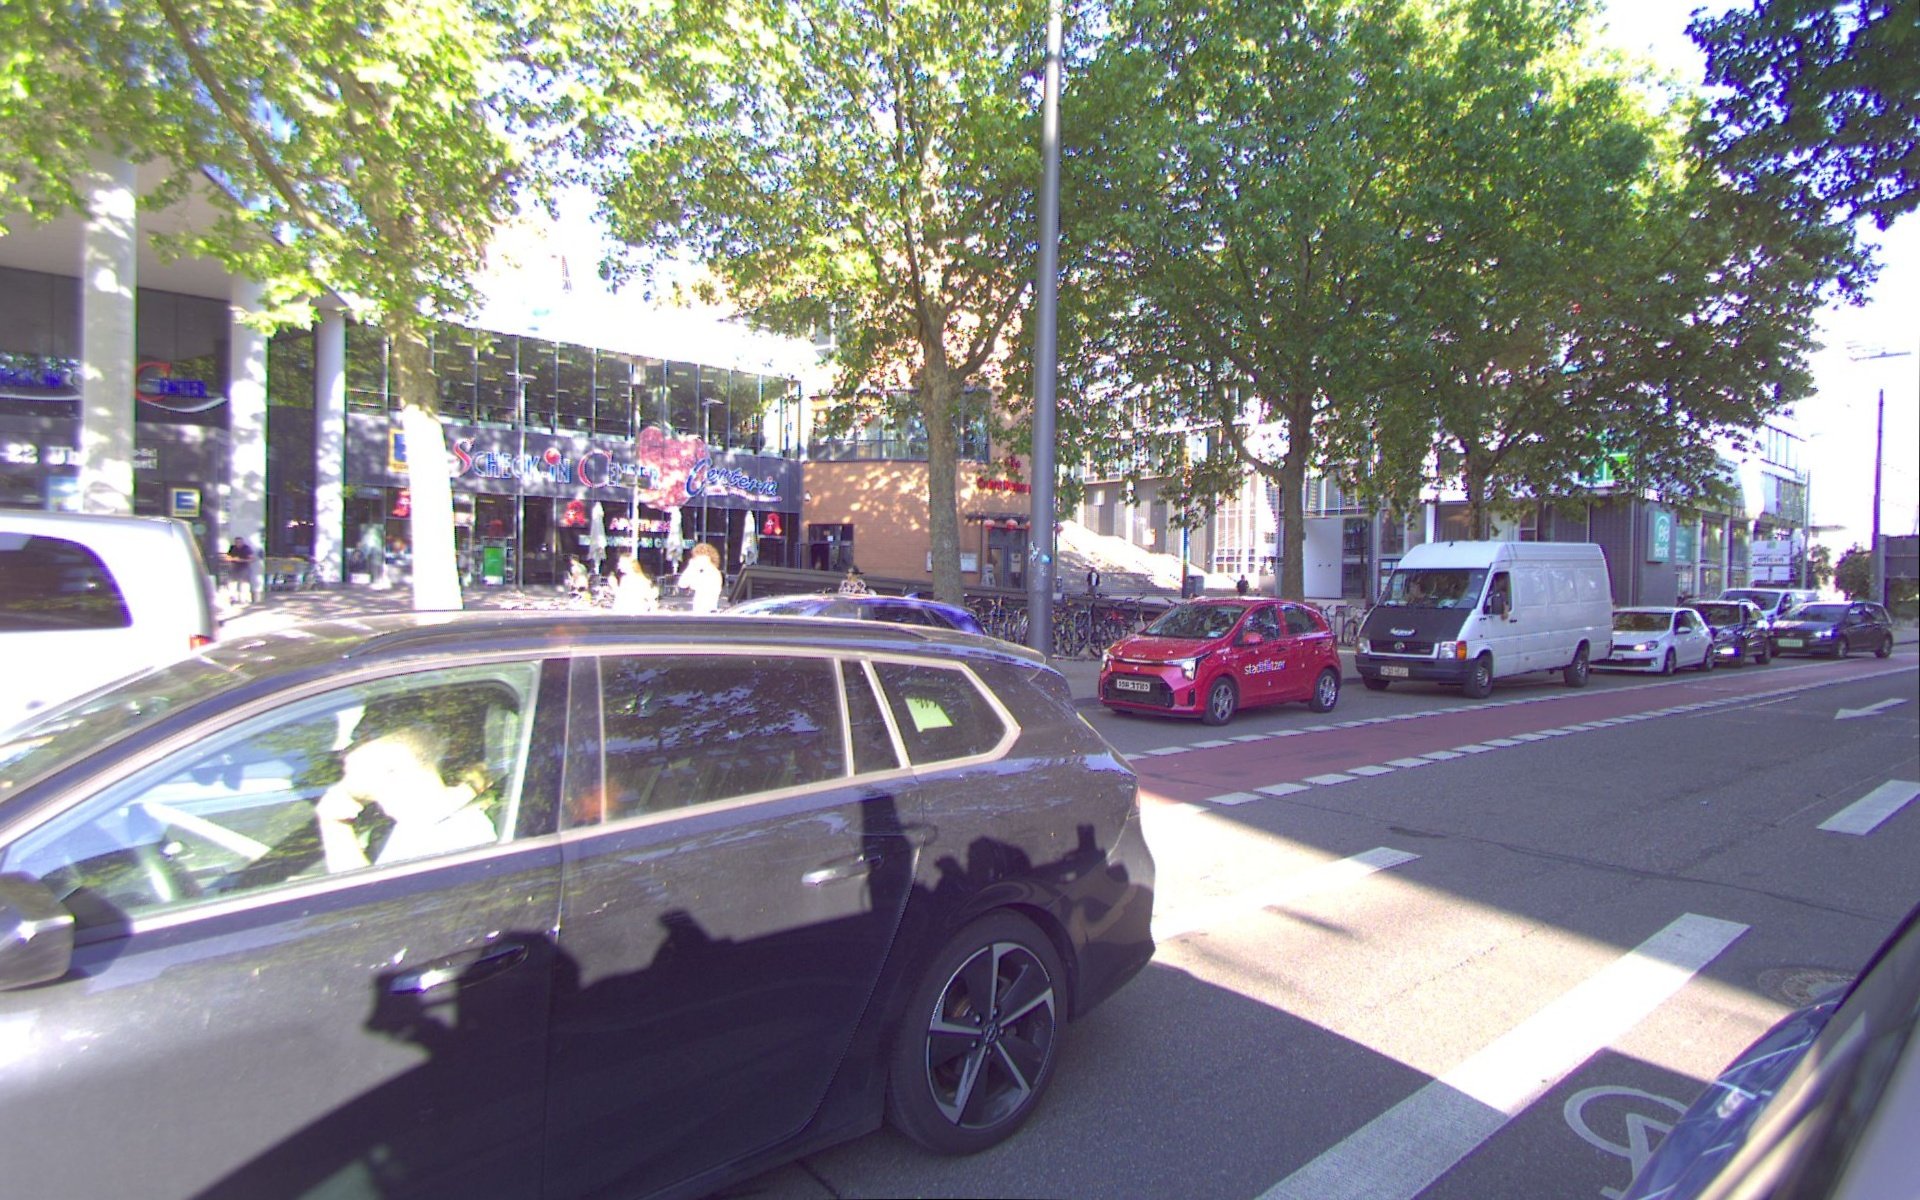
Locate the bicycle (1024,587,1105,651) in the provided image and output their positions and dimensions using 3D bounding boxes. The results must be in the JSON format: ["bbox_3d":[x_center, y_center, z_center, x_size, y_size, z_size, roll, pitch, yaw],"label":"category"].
[{"bbox_3d":[2.108,0.363,20.255,1.818,1.209,0.484,0,2,-41],"label":"bicycle"}]

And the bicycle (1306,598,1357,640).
[{"bbox_3d":[10.306,0.513,28.040,1.766,1.108,0.522,0,2,-41],"label":"bicycle"}]

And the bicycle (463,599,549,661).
[{"bbox_3d":[-7.123,0.463,15.917,1.198,0.938,0.465,1,1,-22],"label":"bicycle"}]

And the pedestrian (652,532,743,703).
[{"bbox_3d":[-2.985,0.185,11.518,0.798,1.868,0.644,1,1,-36],"label":"pedestrian"}]

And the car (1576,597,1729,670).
[{"bbox_3d":[15.278,0.678,22.274,3.927,1.446,1.683,0,1,-38],"label":"car"}]

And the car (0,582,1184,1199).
[{"bbox_3d":[-1.443,0.685,2.449,4.196,1.432,1.742,0,0,-41],"label":"car"}]

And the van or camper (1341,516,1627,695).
[{"bbox_3d":[9.269,0.072,17.547,6.456,2.611,1.998,0,0,-39],"label":"van or camper"}]

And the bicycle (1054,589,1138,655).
[{"bbox_3d":[2.619,0.399,19.361,1.818,1.209,0.481,0,2,-41],"label":"bicycle"}]

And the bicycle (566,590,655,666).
[{"bbox_3d":[-5.362,0.406,15.584,0.372,1.110,1.269,2,1,41],"label":"bicycle"}]

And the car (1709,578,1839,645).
[{"bbox_3d":[26.460,0.347,32.849,4.863,2.020,1.968,0,1,-35],"label":"car"}]

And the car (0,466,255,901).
[{"bbox_3d":[-6.201,0.357,4.373,5.008,2.004,1.940,0,2,-41],"label":"car"}]

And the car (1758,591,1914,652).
[{"bbox_3d":[25.265,0.583,29.170,4.242,1.640,1.970,0,1,-28],"label":"car"}]

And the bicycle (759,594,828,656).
[{"bbox_3d":[-3.099,0.444,18.848,1.202,1.110,0.427,0,1,-40],"label":"bicycle"}]

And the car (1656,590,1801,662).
[{"bbox_3d":[19.317,0.594,25.385,4.148,1.640,1.819,0,1,-36],"label":"car"}]

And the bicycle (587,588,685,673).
[{"bbox_3d":[-4.437,0.399,13.880,1.202,1.110,0.413,0,1,-40],"label":"bicycle"}]

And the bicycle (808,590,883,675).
[{"bbox_3d":[-1.769,0.483,15.760,1.126,1.271,0.379,0,1,-41],"label":"bicycle"}]

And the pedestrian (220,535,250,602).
[{"bbox_3d":[-18.812,-0.804,26.256,0.506,1.707,0.604,1,1,-23],"label":"pedestrian"}]

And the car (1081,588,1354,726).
[{"bbox_3d":[3.343,0.609,12.828,3.588,1.476,1.605,0,1,-41],"label":"car"}]

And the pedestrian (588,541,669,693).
[{"bbox_3d":[-4.074,0.197,12.451,0.750,1.799,0.648,1,1,-38],"label":"pedestrian"}]

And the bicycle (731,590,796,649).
[{"bbox_3d":[-3.890,0.373,20.045,1.202,1.110,0.429,0,1,-40],"label":"bicycle"}]

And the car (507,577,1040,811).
[{"bbox_3d":[-1.407,0.597,8.636,4.177,1.503,1.742,0,2,-41],"label":"car"}]

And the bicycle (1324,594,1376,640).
[{"bbox_3d":[10.663,0.458,27.627,1.818,1.209,0.495,0,2,-41],"label":"bicycle"}]

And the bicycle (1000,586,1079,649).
[{"bbox_3d":[1.626,0.340,20.516,1.818,1.209,0.447,0,1,-41],"label":"bicycle"}]

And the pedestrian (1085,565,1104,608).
[{"bbox_3d":[6.505,-0.662,48.876,0.861,2.062,0.585,1,1,6],"label":"pedestrian"}]

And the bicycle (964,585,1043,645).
[{"bbox_3d":[0.933,0.297,21.344,1.818,1.209,0.458,0,1,-41],"label":"bicycle"}]

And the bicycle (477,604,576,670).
[{"bbox_3d":[-6.240,0.519,14.592,1.231,0.898,0.462,0,1,-40],"label":"bicycle"}]

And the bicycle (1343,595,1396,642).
[{"bbox_3d":[11.030,0.479,27.228,1.818,1.209,0.521,0,2,-41],"label":"bicycle"}]

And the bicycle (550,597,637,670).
[{"bbox_3d":[-5.887,0.519,16.310,0.414,1.110,1.269,2,1,41],"label":"bicycle"}]

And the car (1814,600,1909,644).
[{"bbox_3d":[31.574,0.739,35.422,3.927,1.394,1.802,0,2,-38],"label":"car"}]

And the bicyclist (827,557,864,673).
[{"bbox_3d":[-1.782,0.228,15.789,0.392,1.782,0.390,0,1,-41],"label":"bicyclist"}]

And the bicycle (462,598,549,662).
[{"bbox_3d":[-6.961,0.453,15.539,1.198,0.930,0.442,1,1,-22],"label":"bicycle"}]

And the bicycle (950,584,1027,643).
[{"bbox_3d":[0.634,0.272,21.697,1.818,1.209,0.434,0,1,-41],"label":"bicycle"}]

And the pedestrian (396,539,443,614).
[{"bbox_3d":[-13.320,-0.581,24.954,0.869,1.805,0.604,1,1,-11],"label":"pedestrian"}]

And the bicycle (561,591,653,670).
[{"bbox_3d":[-5.160,0.424,14.836,1.202,1.110,0.396,0,1,-40],"label":"bicycle"}]

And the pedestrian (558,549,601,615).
[{"bbox_3d":[-10.197,-0.475,27.122,0.798,1.728,0.711,2,1,26],"label":"pedestrian"}]

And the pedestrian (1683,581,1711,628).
[{"bbox_3d":[28.237,0.168,38.784,0.516,1.790,0.716,0,1,-39],"label":"pedestrian"}]

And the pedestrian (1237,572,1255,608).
[{"bbox_3d":[12.722,-0.453,45.102,0.707,1.578,0.638,1,1,14],"label":"pedestrian"}]

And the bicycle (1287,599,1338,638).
[{"bbox_3d":[9.923,0.506,28.450,1.818,1.046,0.515,0,2,-41],"label":"bicycle"}]

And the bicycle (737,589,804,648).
[{"bbox_3d":[-3.645,0.343,19.501,1.202,1.110,0.444,0,1,-40],"label":"bicycle"}]

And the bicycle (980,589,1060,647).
[{"bbox_3d":[1.253,0.352,20.965,1.818,1.139,0.484,0,2,-41],"label":"bicycle"}]

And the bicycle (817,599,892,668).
[{"bbox_3d":[-1.758,0.539,16.977,1.202,1.110,0.420,0,1,-40],"label":"bicycle"}]

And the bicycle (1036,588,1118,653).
[{"bbox_3d":[2.296,0.389,19.746,1.818,1.209,0.448,0,1,-41],"label":"bicycle"}]

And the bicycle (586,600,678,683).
[{"bbox_3d":[-4.583,0.565,14.177,1.202,1.110,0.269,0,1,-40],"label":"bicycle"}]

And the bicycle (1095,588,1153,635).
[{"bbox_3d":[4.399,0.306,27.049,1.759,1.209,0.517,0,2,-41],"label":"bicycle"}]
